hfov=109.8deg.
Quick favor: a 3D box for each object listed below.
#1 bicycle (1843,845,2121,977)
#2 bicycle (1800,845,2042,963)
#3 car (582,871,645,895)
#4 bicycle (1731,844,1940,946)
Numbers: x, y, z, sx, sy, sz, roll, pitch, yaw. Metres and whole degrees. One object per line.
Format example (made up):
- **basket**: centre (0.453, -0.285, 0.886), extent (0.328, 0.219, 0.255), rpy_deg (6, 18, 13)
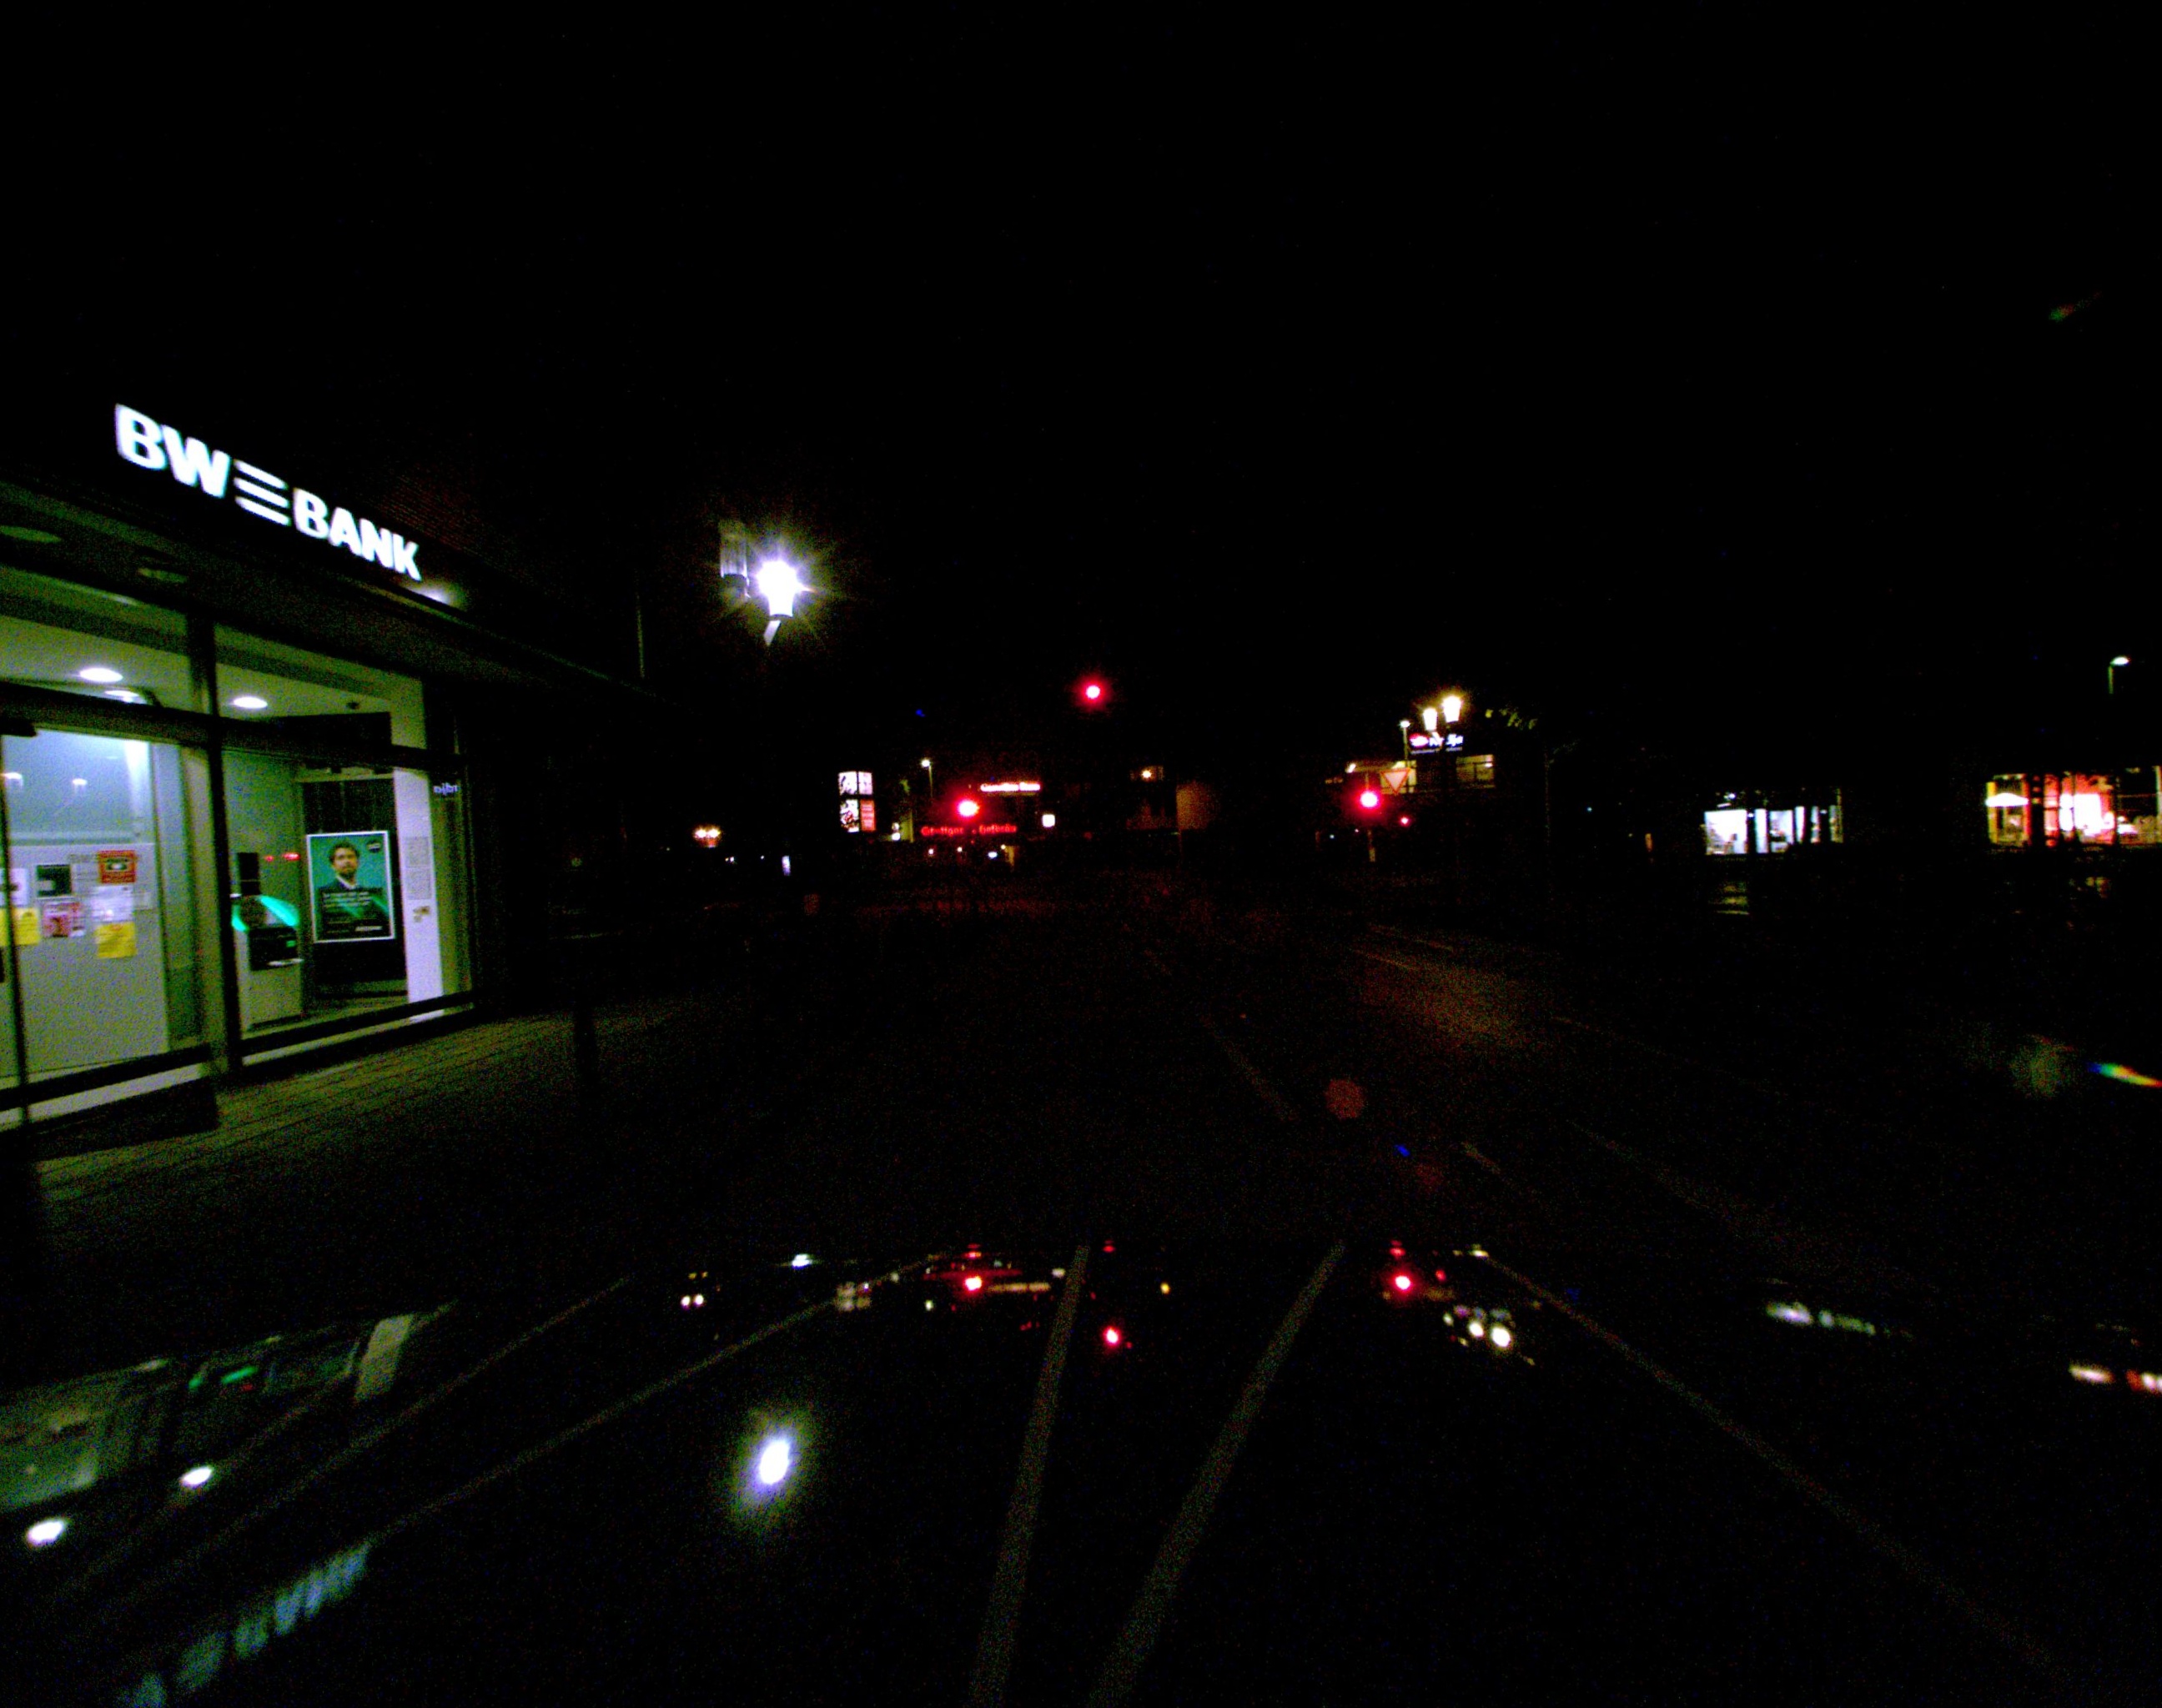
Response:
- **bicycle**: centre (9.195, 0.561, 7.826), extent (1.738, 1.159, 0.787), rpy_deg (-5, 0, 5)
- **bicycle**: centre (9.495, 0.545, 8.653), extent (1.738, 1.151, 0.787), rpy_deg (-5, 1, 5)
- **car**: centre (-35.127, 2.151, 57.138), extent (3.856, 1.643, 1.877), rpy_deg (-2, -1, 14)
- **bicycle**: centre (9.875, 0.521, 10.008), extent (1.838, 1.151, 0.787), rpy_deg (-5, 1, 5)
